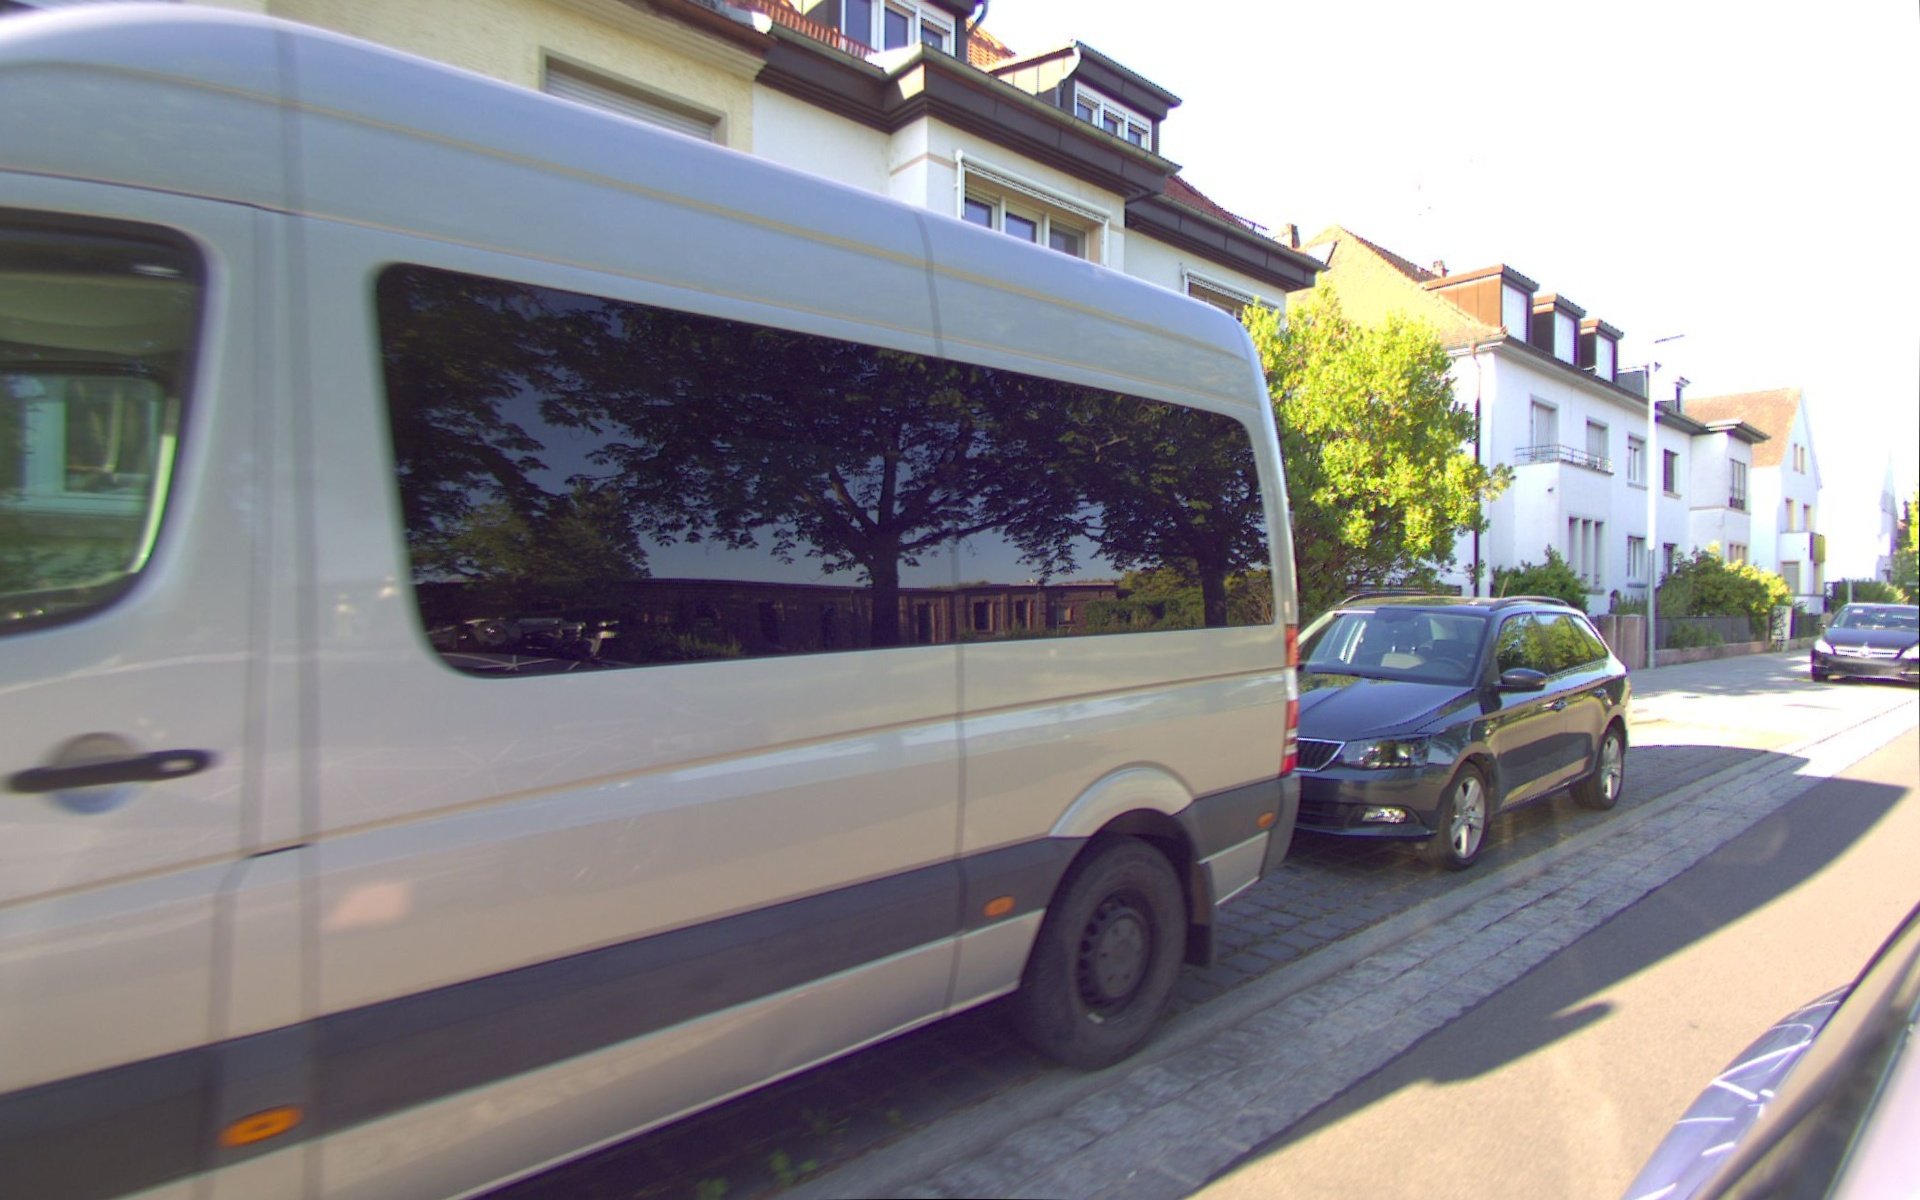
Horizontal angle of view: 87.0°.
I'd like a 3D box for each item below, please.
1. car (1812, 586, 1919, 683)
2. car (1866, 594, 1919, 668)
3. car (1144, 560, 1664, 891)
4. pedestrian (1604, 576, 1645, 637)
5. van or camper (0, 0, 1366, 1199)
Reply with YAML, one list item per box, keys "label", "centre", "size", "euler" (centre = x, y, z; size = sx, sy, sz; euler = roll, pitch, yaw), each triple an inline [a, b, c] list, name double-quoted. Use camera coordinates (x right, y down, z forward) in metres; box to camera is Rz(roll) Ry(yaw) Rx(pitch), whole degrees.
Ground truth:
- label: "car"
  centre: [18.877, 0.619, 20.445]
  size: [4.338, 1.705, 1.836]
  euler: [-1, 4, -41]
- label: "car"
  centre: [22.719, 0.693, 23.859]
  size: [4.141, 1.593, 1.719]
  euler: [-1, 3, -44]
- label: "car"
  centre: [3.193, 0.617, 6.891]
  size: [4.014, 1.613, 1.666]
  euler: [0, -1, -41]
- label: "pedestrian"
  centre: [17.604, 0.169, 26.807]
  size: [0.617, 1.598, 0.598]
  euler: [-1, -1, -14]
- label: "van or camper"
  centre: [-1.289, 0.110, 2.766]
  size: [5.836, 2.813, 1.946]
  euler: [-1, -1, -41]
